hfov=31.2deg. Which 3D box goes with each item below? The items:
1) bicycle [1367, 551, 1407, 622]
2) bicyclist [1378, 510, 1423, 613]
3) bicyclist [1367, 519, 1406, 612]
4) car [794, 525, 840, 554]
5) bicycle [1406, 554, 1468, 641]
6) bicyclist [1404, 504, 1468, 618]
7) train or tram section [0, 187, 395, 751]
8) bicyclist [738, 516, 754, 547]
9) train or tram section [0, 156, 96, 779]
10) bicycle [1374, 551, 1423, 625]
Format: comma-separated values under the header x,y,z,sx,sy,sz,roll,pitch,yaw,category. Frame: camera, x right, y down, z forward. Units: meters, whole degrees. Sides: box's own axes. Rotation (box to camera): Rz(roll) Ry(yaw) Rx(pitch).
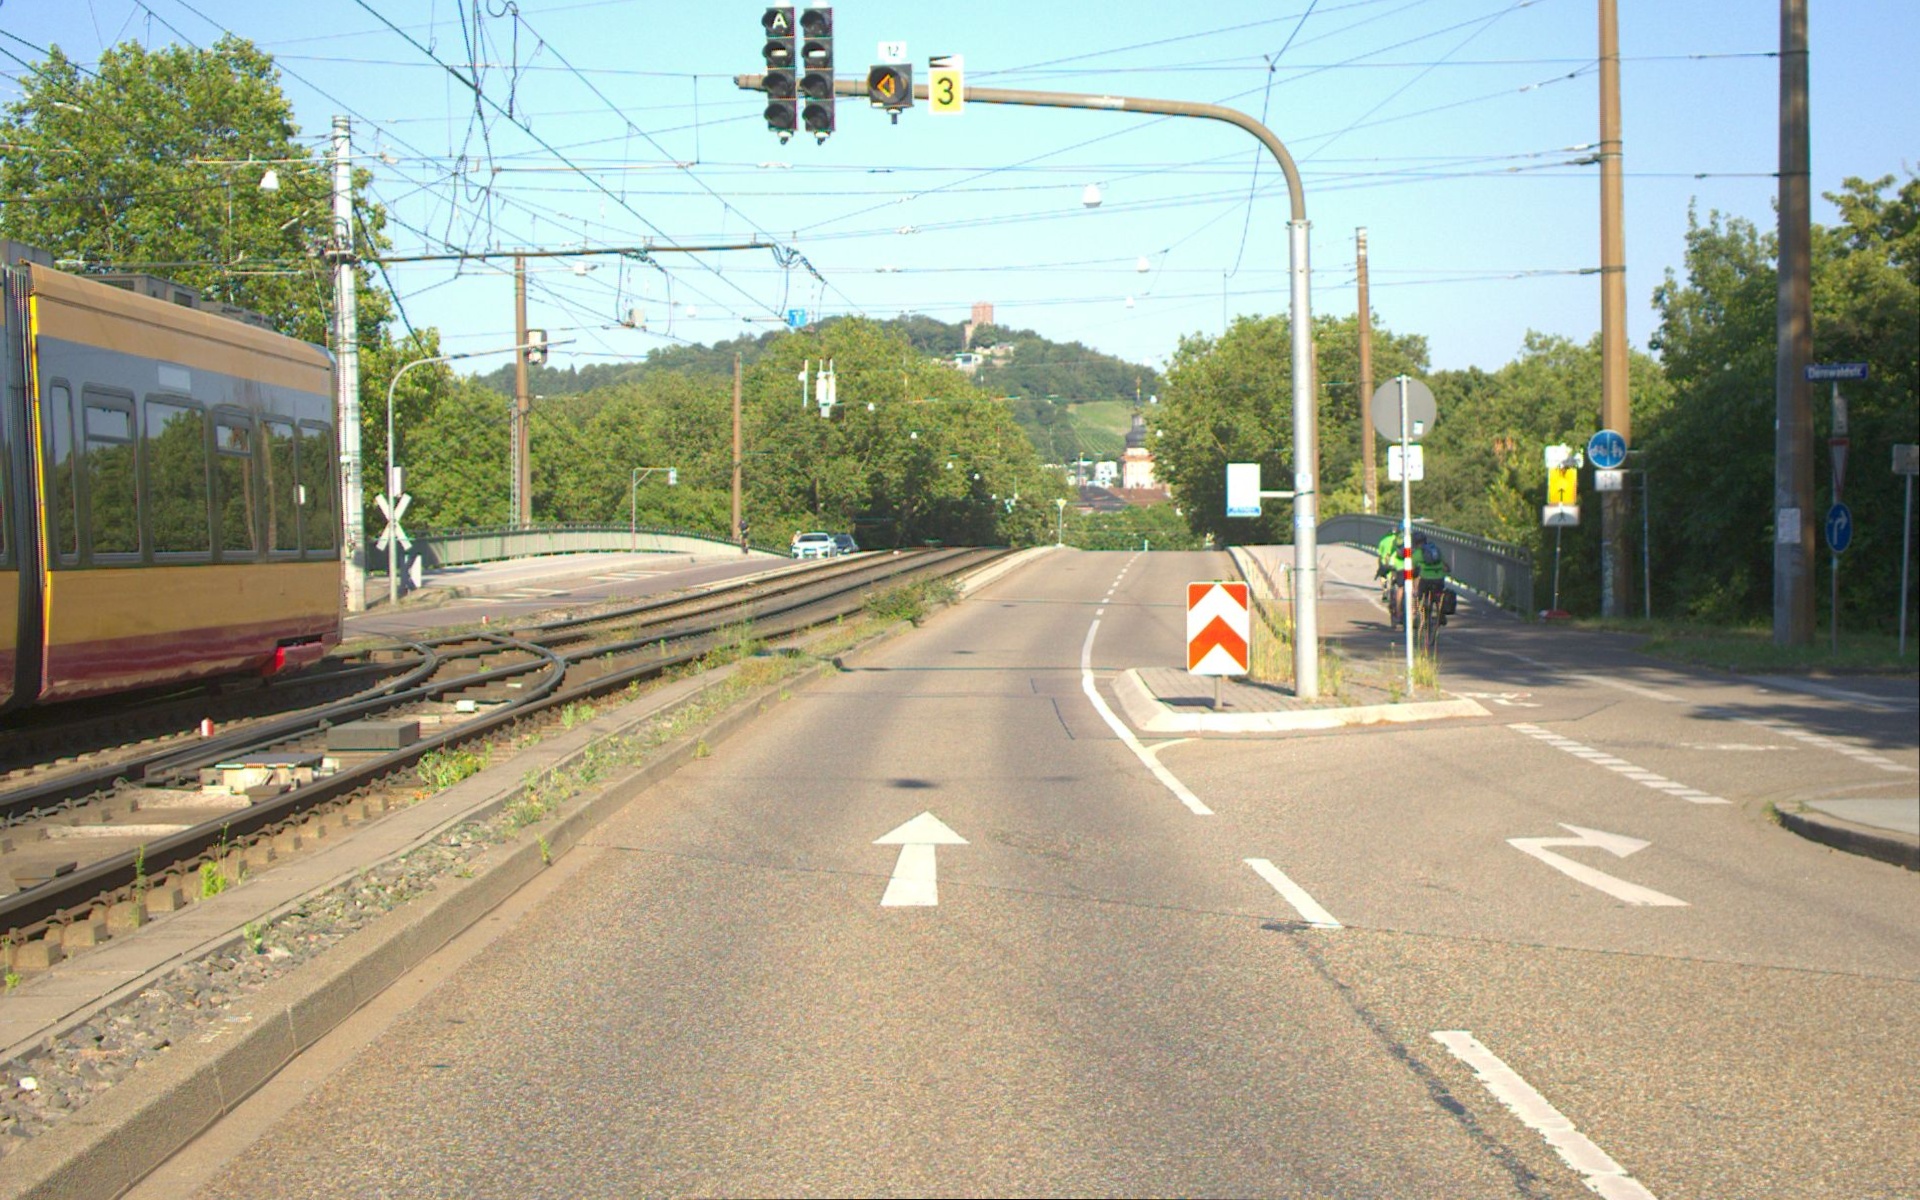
x,y,z,sx,sy,sz,roll,pitch,yaw,category
7.041,-0.233,56.711,0.625,1.118,2.259,0,2,6,bicycle
6.867,-0.599,53.600,0.625,1.587,0.931,0,1,4,bicyclist
7.041,-0.575,56.746,0.625,1.503,1.006,0,1,6,bicyclist
-6.828,-2.881,164.205,1.684,1.351,4.920,0,1,4,car
6.654,-0.051,48.054,0.683,1.118,2.216,0,2,4,bicycle
6.642,-0.552,48.018,0.812,1.557,0.896,0,2,4,bicyclist
-7.497,-1.018,30.056,2.978,3.887,12.702,0,1,0,train or tram section
-10.158,-3.251,163.033,0.625,1.427,0.968,0,1,5,bicyclist
-7.476,-0.752,17.903,2.976,3.887,11.665,0,1,0,train or tram section
6.830,-0.194,53.601,0.625,1.118,2.042,0,1,4,bicycle
